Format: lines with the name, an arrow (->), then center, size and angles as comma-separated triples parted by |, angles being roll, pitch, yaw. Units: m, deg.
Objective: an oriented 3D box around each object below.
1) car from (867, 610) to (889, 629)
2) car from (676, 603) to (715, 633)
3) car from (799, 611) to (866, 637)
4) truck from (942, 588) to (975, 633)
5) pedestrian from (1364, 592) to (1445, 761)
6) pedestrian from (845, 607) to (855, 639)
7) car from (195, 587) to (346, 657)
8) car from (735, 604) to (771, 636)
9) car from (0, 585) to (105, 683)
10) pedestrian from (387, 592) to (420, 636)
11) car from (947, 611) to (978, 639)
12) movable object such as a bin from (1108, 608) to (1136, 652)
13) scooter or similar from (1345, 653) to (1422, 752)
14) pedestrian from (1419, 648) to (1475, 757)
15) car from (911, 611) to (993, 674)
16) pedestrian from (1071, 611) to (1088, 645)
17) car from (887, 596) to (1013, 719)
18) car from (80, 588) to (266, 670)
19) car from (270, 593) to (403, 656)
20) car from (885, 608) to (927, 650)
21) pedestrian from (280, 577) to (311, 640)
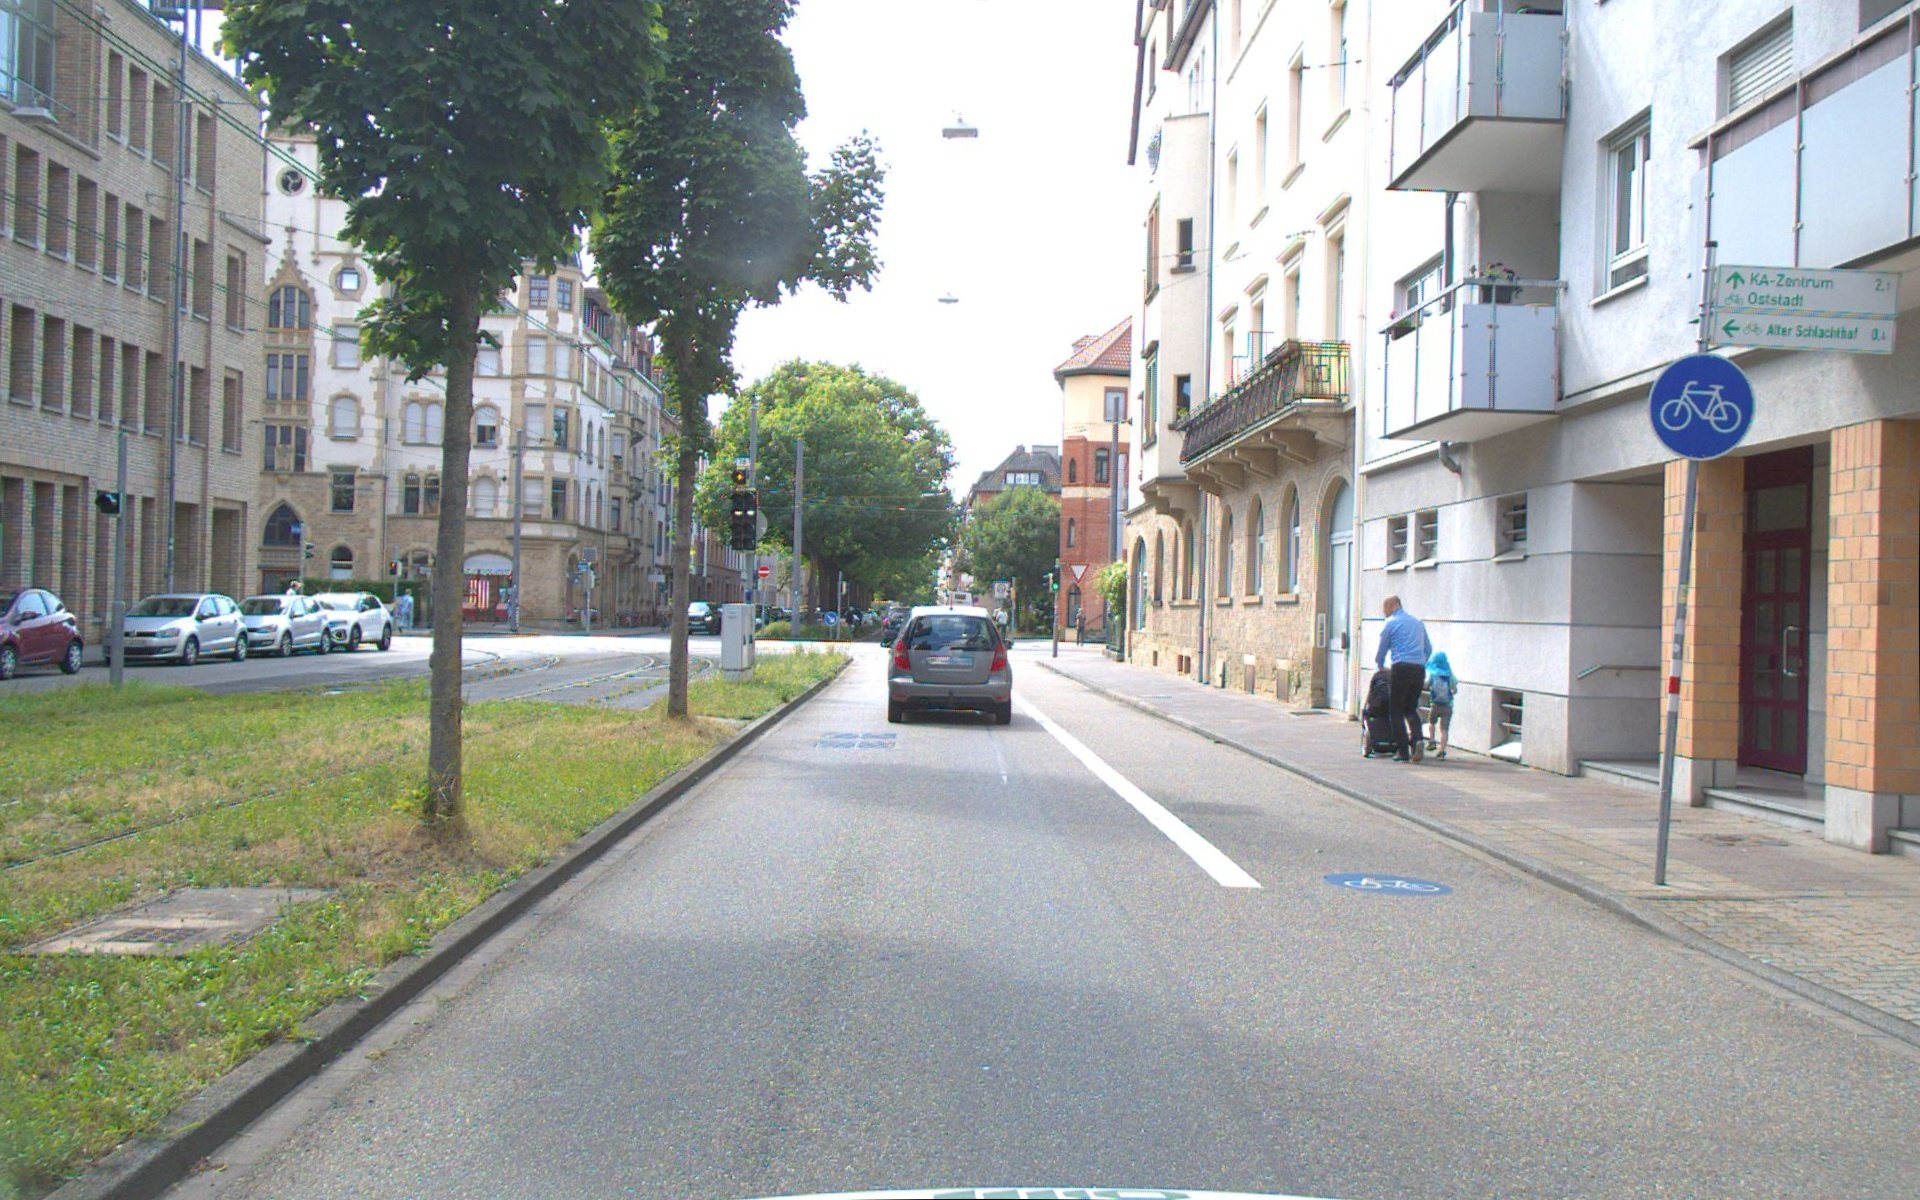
car -> -6.856, 1.629, 138.436 | 1.716, 1.543, 3.498 | 1, -1, -1
car -> -14.836, 1.024, 92.802 | 1.955, 1.646, 3.994 | 1, -1, -6
car -> -7.379, 1.390, 95.732 | 1.956, 1.362, 3.942 | 2, -1, -40
truck -> -0.094, 0.705, 114.228 | 2.079, 3.022, 4.001 | 1, -1, 2
pedestrian -> 4.765, 0.803, 17.755 | 0.608, 1.769, 0.877 | -1, -1, 0
pedestrian -> -6.069, 1.248, 91.059 | 0.483, 1.755, 0.653 | 1, -1, -5
car -> -16.461, 0.523, 39.708 | 1.893, 1.557, 4.014 | 1, 0, 0
car -> -11.769, 1.120, 94.358 | 1.955, 1.758, 3.994 | 1, -1, -6
car -> -16.047, 0.540, 27.717 | 1.550, 1.557, 3.549 | 1, 0, 0
pedestrian -> -22.884, 0.580, 68.028 | 0.763, 1.752, 1.016 | 1, -1, 45
car -> 0.191, 1.528, 101.171 | 1.716, 1.661, 3.500 | 1, -1, 2
movable object such as a bin -> 5.505, 1.017, 56.359 | 0.701, 1.498, 0.980 | 1, -1, -10
scooter or similar -> 4.743, 1.136, 18.548 | 0.580, 1.019, 0.905 | -3, -1, 0
pedestrian -> 5.323, 1.110, 18.088 | 0.447, 1.155, 0.494 | 1, -1, -1
car -> -0.216, 1.047, 42.089 | 1.940, 1.467, 3.999 | 1, 0, -1
pedestrian -> 5.991, 1.406, 82.979 | 0.851, 1.686, 0.736 | 1, -1, 3
car -> -0.141, 0.794, 24.133 | 1.687, 1.634, 3.676 | 1, -1, 0
car -> -16.209, 0.578, 34.316 | 1.813, 1.557, 4.209 | 1, 0, 0
car -> -16.532, 0.633, 44.092 | 1.893, 1.562, 4.257 | 1, 0, 0
car -> -2.296, 1.214, 70.912 | 1.687, 1.736, 3.676 | 1, -1, 0
pedestrian -> -19.855, 0.253, 49.415 | 0.750, 1.827, 0.952 | 2, -1, -26
